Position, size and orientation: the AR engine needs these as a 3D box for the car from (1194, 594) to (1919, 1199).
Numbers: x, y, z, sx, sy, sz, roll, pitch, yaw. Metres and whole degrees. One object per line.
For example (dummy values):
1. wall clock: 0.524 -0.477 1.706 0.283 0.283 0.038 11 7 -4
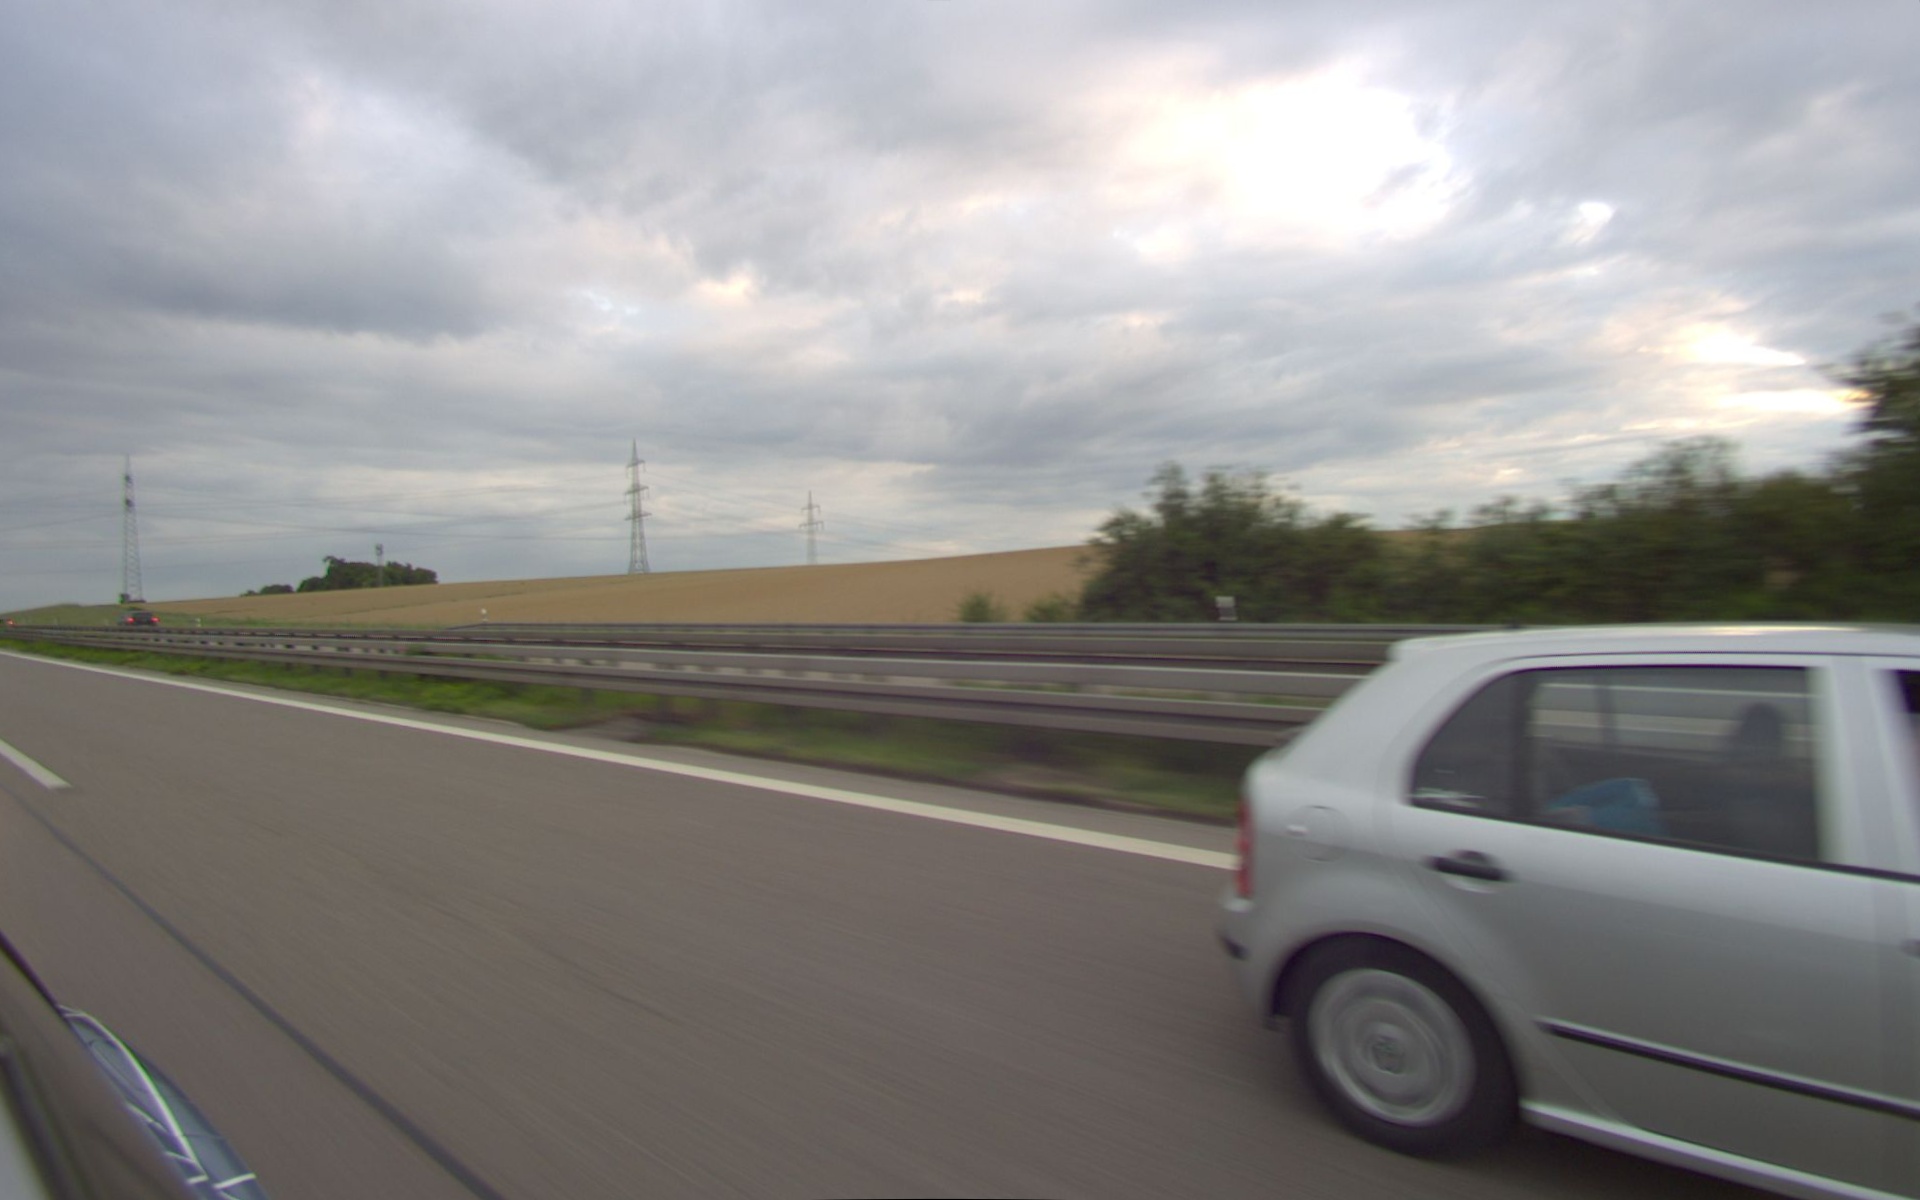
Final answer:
1. car: 2.919 0.672 1.981 4.599 1.400 1.572 -1 -1 41

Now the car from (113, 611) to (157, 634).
1. car: -66.103 1.822 81.037 5.767 1.706 1.867 -2 2 42

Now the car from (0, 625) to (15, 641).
1. car: -107.987 3.751 113.929 4.115 1.599 1.808 -2 1 41
